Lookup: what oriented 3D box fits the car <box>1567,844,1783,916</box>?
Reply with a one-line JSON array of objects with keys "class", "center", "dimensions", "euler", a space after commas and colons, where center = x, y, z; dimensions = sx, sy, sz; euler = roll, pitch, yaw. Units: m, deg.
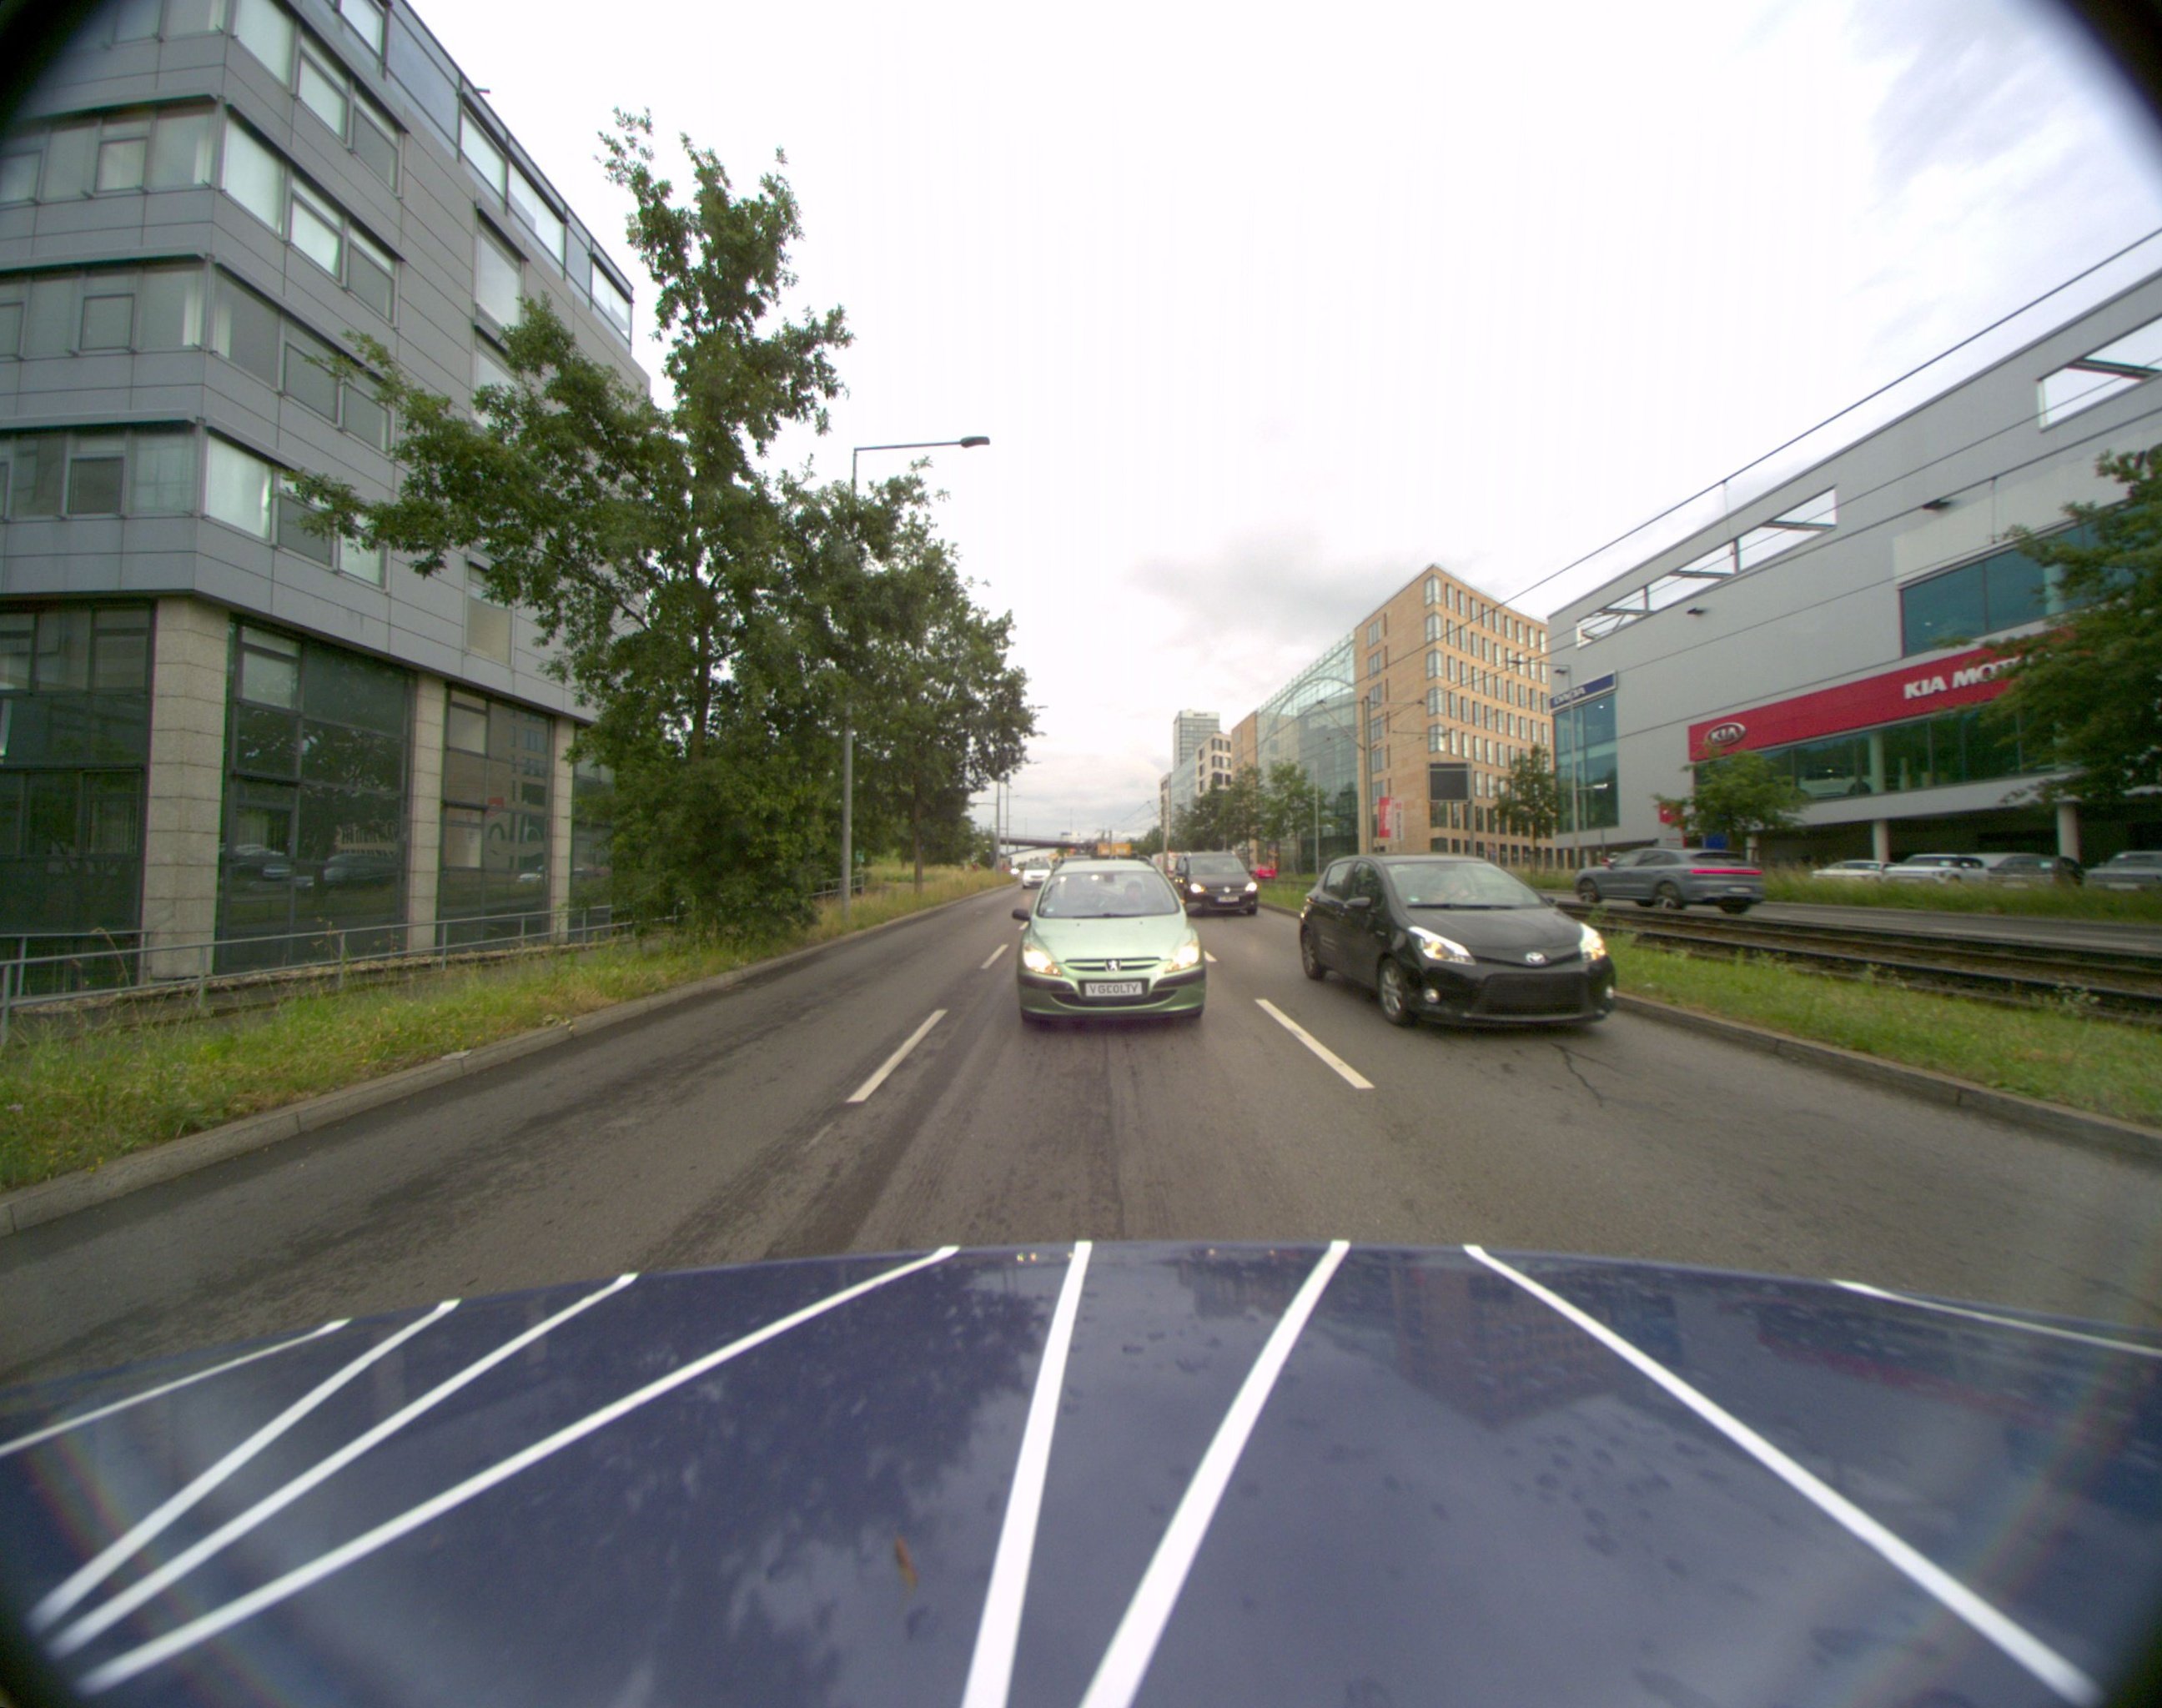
[{"class": "car", "center": [15.939, 0.631, 20.815], "dimensions": [1.999, 1.709, 4.839], "euler": [1, 0, -2]}]

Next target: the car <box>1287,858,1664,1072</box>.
[{"class": "car", "center": [3.434, 0.828, 7.522], "dimensions": [1.704, 1.523, 3.826], "euler": [-1, 0, -1]}]

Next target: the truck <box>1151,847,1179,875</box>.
[{"class": "truck", "center": [13.165, 1.038, 119.355], "dimensions": [3.144, 4.219, 7.026], "euler": [2, 0, -3]}]

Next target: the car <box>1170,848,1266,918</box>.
[{"class": "car", "center": [3.514, 0.689, 20.268], "dimensions": [1.786, 1.597, 4.317], "euler": [-2, 0, 1]}]

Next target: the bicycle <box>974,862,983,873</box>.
[{"class": "bicycle", "center": [-10.961, 1.416, 81.246], "dimensions": [0.582, 1.082, 1.906], "euler": [-2, 0, 1]}]

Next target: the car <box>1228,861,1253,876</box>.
[{"class": "car", "center": [18.062, 1.587, 86.183], "dimensions": [1.689, 1.571, 4.098], "euler": [-1, 0, -4]}]

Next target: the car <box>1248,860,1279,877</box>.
[{"class": "car", "center": [16.461, 1.279, 68.780], "dimensions": [1.589, 1.504, 4.100], "euler": [1, 0, -3]}]

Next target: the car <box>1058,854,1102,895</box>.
[{"class": "car", "center": [-0.059, 0.827, 33.459], "dimensions": [1.759, 1.649, 4.337], "euler": [-1, 0, -1]}]

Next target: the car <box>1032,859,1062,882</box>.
[{"class": "car", "center": [-2.348, 1.100, 52.898], "dimensions": [1.828, 1.495, 3.766], "euler": [-1, 0, 1]}]

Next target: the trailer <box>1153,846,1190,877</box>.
[{"class": "trailer", "center": [13.437, 1.047, 113.756], "dimensions": [3.143, 4.304, 13.277], "euler": [2, 0, -3]}]

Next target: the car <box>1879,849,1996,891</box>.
[{"class": "car", "center": [31.767, 0.576, 28.183], "dimensions": [3.668, 1.287, 1.696], "euler": [-4, 1, -22]}]

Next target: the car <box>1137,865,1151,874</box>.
[{"class": "car", "center": [9.876, 2.420, 119.302], "dimensions": [1.655, 1.428, 3.879], "euler": [-1, 0, -2]}]

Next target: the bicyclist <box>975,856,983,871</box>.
[{"class": "bicyclist", "center": [-10.948, 0.978, 81.240], "dimensions": [0.647, 1.569, 0.855], "euler": [-2, 0, 1]}]

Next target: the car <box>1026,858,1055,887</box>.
[{"class": "car", "center": [-2.322, 1.016, 42.846], "dimensions": [1.518, 1.495, 3.167], "euler": [-1, 0, -4]}]

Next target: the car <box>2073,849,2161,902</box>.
[{"class": "car", "center": [32.039, 0.602, 22.841], "dimensions": [3.528, 1.344, 1.696], "euler": [-4, 1, -20]}]

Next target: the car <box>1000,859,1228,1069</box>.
[{"class": "car", "center": [0.253, 0.856, 7.985], "dimensions": [1.704, 1.523, 4.371], "euler": [-1, 0, 0]}]

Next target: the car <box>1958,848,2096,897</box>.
[{"class": "car", "center": [31.605, 0.583, 25.402], "dimensions": [3.528, 1.344, 1.696], "euler": [-4, 1, -17]}]

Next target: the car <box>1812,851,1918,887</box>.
[{"class": "car", "center": [31.744, 0.593, 30.788], "dimensions": [3.668, 1.181, 1.696], "euler": [-4, 1, -22]}]
